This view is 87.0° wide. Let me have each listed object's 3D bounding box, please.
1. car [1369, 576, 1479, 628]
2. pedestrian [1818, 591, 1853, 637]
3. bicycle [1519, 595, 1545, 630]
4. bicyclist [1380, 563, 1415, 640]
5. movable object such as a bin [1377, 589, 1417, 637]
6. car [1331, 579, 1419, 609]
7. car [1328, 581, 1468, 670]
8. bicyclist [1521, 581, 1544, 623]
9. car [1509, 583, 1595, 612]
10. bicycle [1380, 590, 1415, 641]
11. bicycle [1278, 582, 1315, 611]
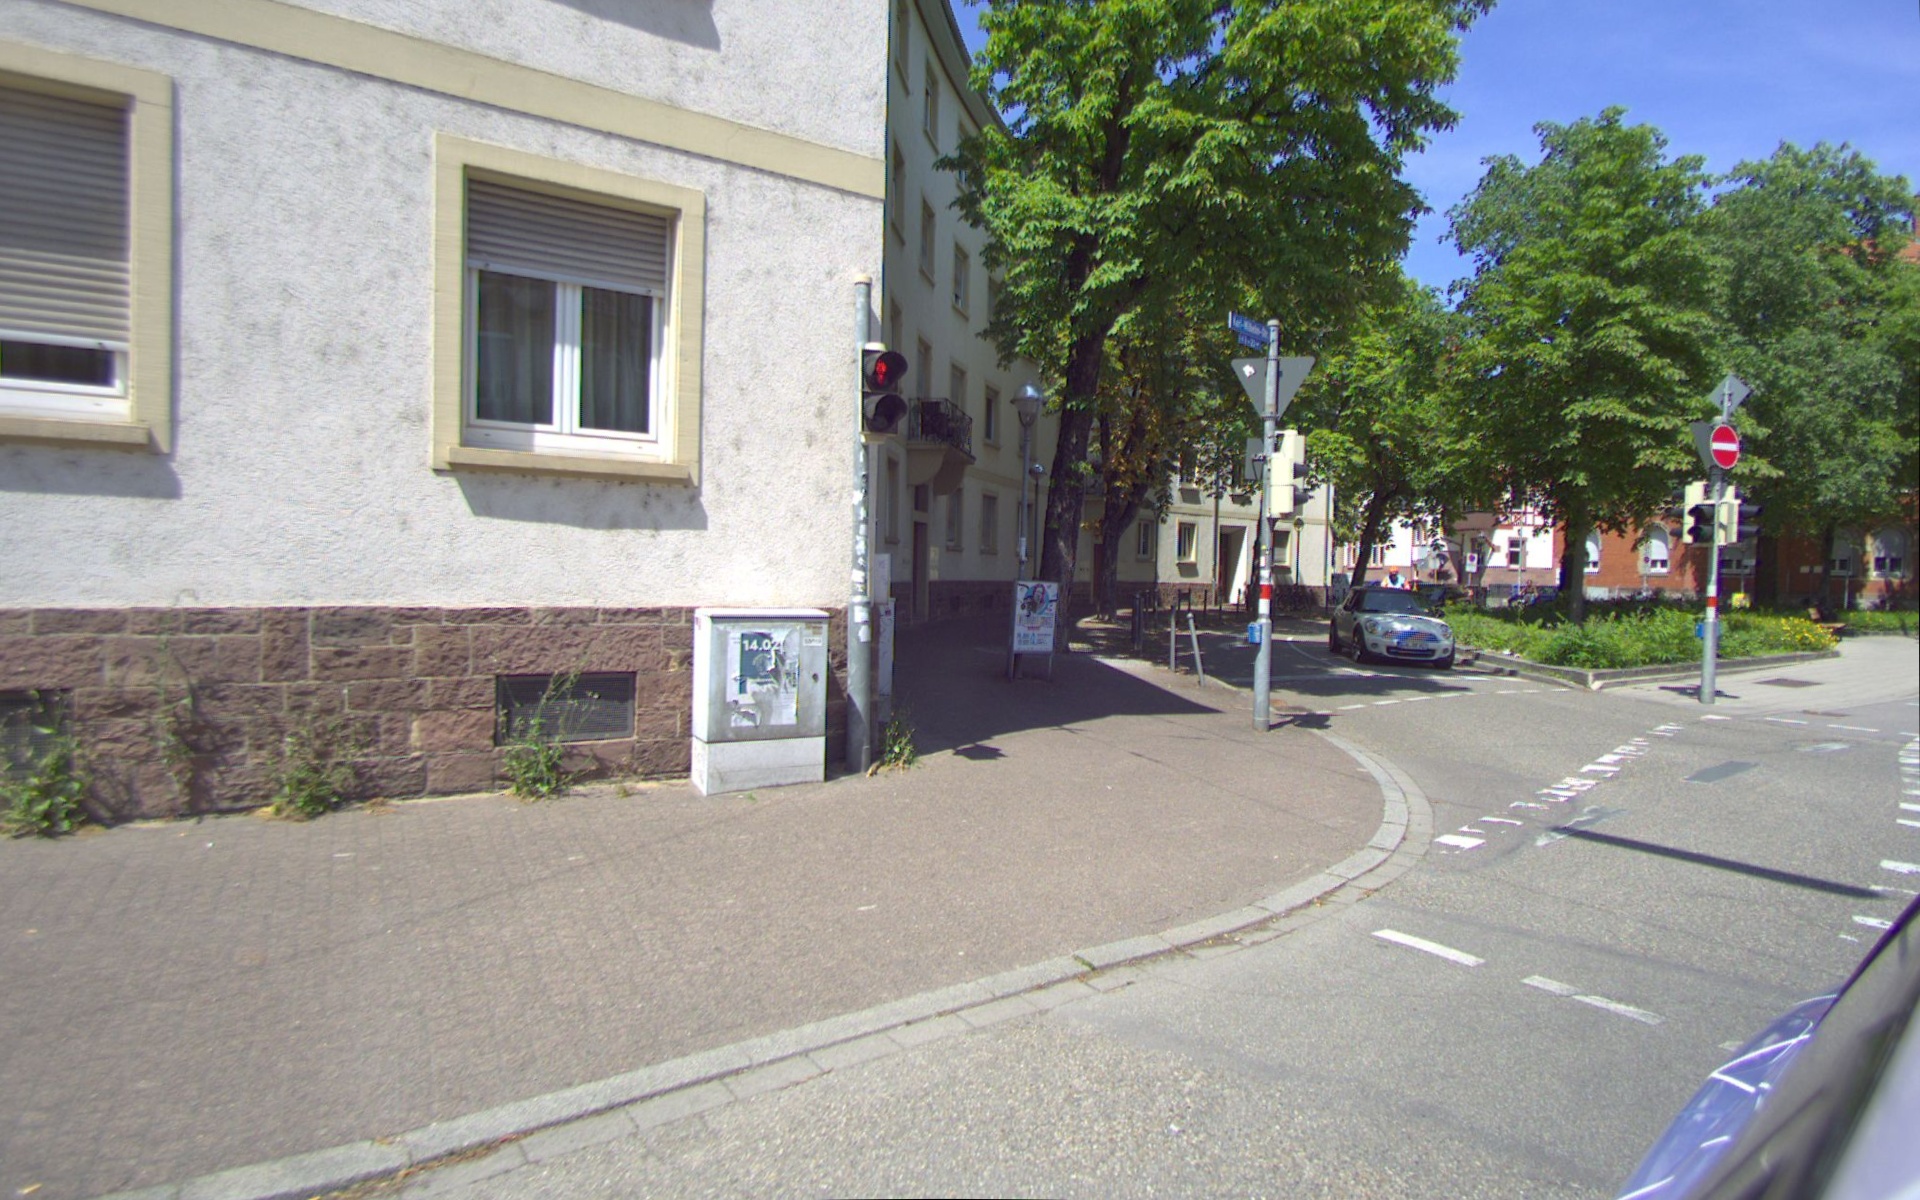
[{"bbox_3d":[15.040,0.044,32.719,3.993,1.582,1.613,0,1,-39],"label":"car"},{"bbox_3d":[22.627,0.347,26.148,0.650,1.164,0.633,2,1,43],"label":"pedestrian"},{"bbox_3d":[22.403,0.460,39.623,0.637,1.309,1.905,2,1,37],"label":"bicycle"},{"bbox_3d":[10.490,0.028,24.291,0.690,1.789,0.858,1,1,22],"label":"bicyclist"},{"bbox_3d":[11.168,0.309,25.898,0.858,1.169,1.752,1,1,22],"label":"movable object such as a bin"},{"bbox_3d":[23.066,-0.330,56.296,4.229,1.582,1.648,1,1,-11],"label":"car"},{"bbox_3d":[8.350,0.405,19.619,1.669,1.463,3.615,4,2,11],"label":"car"},{"bbox_3d":[22.428,0.068,39.624,0.637,1.643,0.851,2,1,38],"label":"bicyclist"},{"bbox_3d":[32.668,-0.140,55.978,1.610,1.470,4.328,1,1,-12],"label":"car"},{"bbox_3d":[10.478,0.346,24.262,0.673,1.169,1.791,1,1,21],"label":"bicycle"},{"bbox_3d":[13.946,-0.159,41.910,1.899,1.169,0.515,0,1,-40],"label":"bicycle"}]
